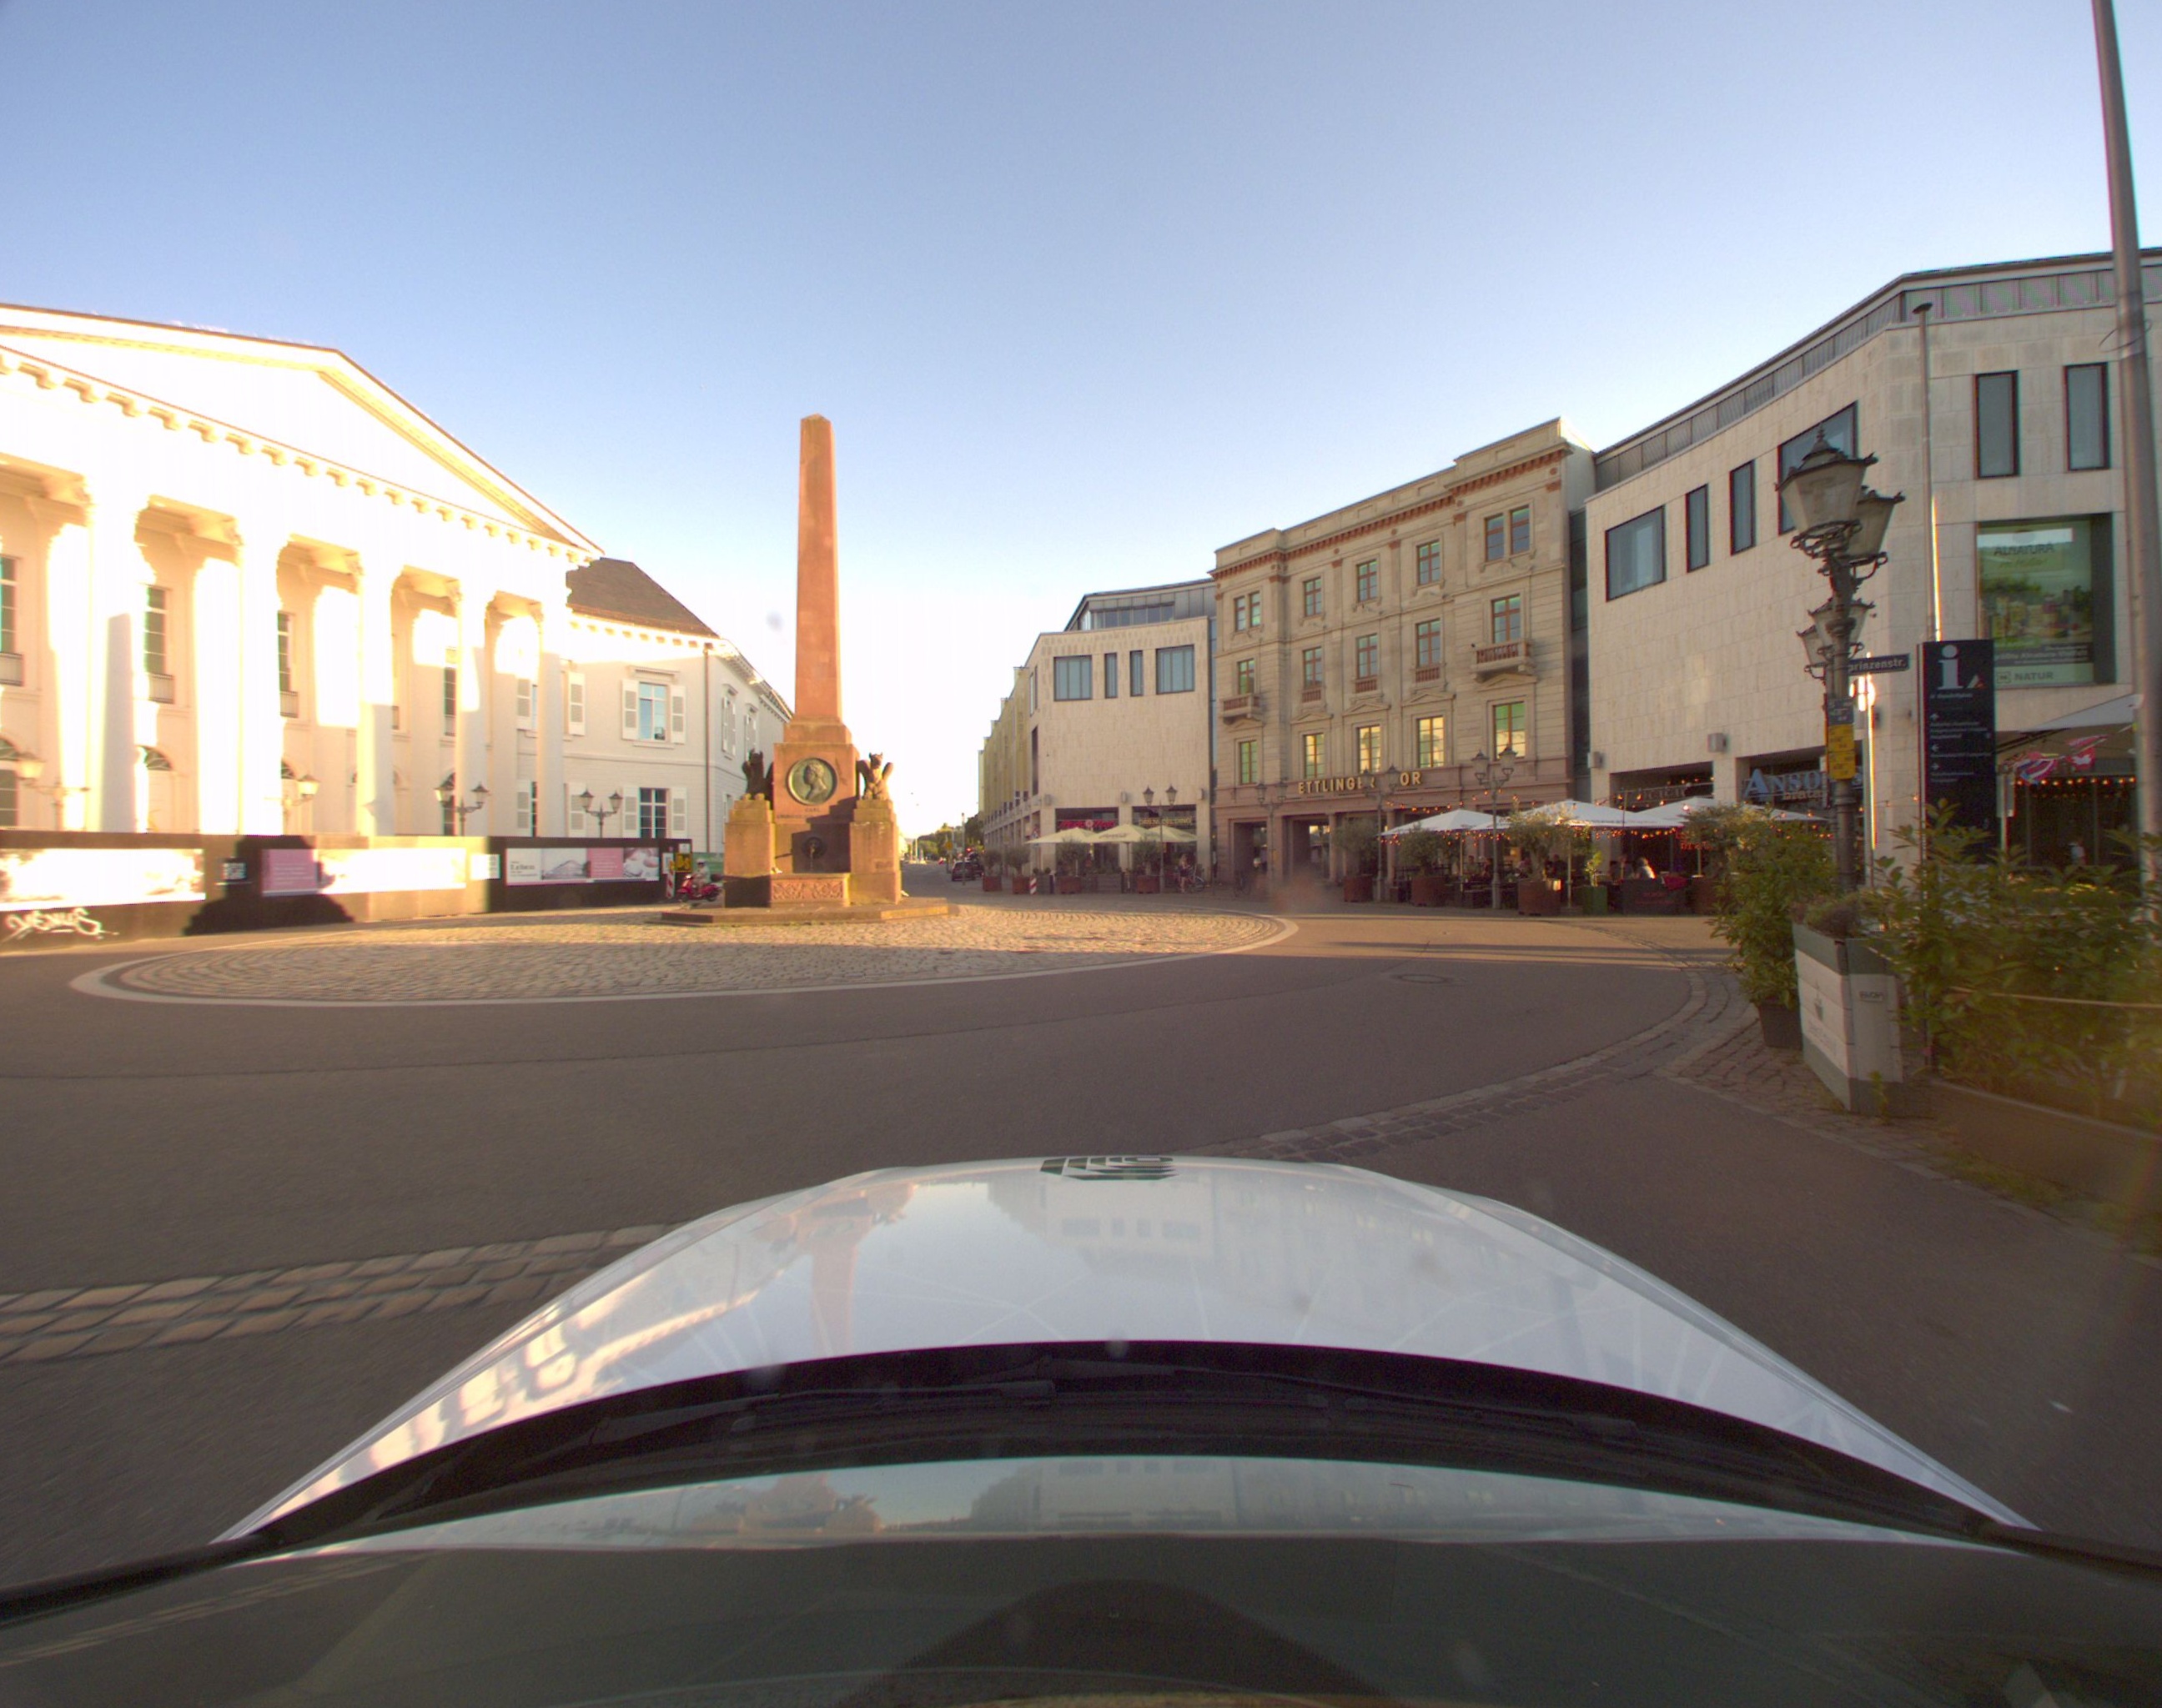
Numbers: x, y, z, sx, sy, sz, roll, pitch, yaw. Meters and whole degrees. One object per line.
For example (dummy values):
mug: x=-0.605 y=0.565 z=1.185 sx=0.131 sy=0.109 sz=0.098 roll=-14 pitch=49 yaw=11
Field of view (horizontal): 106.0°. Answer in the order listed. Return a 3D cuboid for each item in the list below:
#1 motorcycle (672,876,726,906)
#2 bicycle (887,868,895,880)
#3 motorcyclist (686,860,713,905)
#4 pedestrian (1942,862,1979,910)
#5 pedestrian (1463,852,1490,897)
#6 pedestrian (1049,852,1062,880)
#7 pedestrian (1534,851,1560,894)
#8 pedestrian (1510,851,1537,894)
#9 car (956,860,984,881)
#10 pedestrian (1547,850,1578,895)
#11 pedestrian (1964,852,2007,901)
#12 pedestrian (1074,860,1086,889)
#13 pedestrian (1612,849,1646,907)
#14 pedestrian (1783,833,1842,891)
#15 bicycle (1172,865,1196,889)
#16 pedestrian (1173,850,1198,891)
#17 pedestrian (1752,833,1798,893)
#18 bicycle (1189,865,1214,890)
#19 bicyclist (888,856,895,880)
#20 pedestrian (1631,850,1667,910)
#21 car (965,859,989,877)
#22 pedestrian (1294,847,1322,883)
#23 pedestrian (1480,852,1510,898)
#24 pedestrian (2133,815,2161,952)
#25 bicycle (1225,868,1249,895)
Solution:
motorcycle: x=-14.246 y=1.365 z=30.384 sx=0.594 sy=1.031 sz=1.766 roll=-1 pitch=0 yaw=32
bicycle: x=-18.233 y=1.921 z=78.267 sx=0.600 sy=1.138 sz=1.749 roll=-1 pitch=0 yaw=-9
motorcyclist: x=-14.235 y=1.068 z=30.397 sx=0.594 sy=1.652 sz=0.696 roll=-1 pitch=0 yaw=32
pedestrian: x=20.990 y=0.751 z=19.440 sx=0.539 sy=1.111 sz=0.545 roll=-1 pitch=0 yaw=-37
pedestrian: x=13.268 y=0.677 z=27.317 sx=0.543 sy=1.478 sz=0.622 roll=-1 pitch=0 yaw=-9
pedestrian: x=-1.659 y=0.783 z=52.618 sx=0.709 sy=1.787 sz=0.641 roll=-1 pitch=0 yaw=-17
pedestrian: x=16.307 y=0.623 z=28.488 sx=0.542 sy=1.478 sz=0.624 roll=-1 pitch=0 yaw=1
pedestrian: x=15.409 y=0.639 z=28.351 sx=0.588 sy=1.478 sz=0.624 roll=-1 pitch=0 yaw=1
car: x=-8.437 y=1.210 z=61.711 sx=1.993 sy=1.464 sz=3.988 roll=-1 pitch=0 yaw=-9
pedestrian: x=16.237 y=0.620 z=27.450 sx=0.625 sy=1.478 sz=0.620 roll=-1 pitch=0 yaw=-20
pedestrian: x=21.675 y=0.526 z=19.514 sx=0.495 sy=1.156 sz=0.471 roll=-1 pitch=0 yaw=-1
pedestrian: x=-0.033 y=0.980 z=39.881 sx=0.504 sy=1.398 sz=0.496 roll=-1 pitch=0 yaw=5
pedestrian: x=14.171 y=0.621 z=21.078 sx=0.525 sy=1.478 sz=0.564 roll=-1 pitch=0 yaw=8
pedestrian: x=21.263 y=0.218 z=23.685 sx=0.925 sy=1.647 sz=0.868 roll=-1 pitch=0 yaw=2
bicycle: x=4.579 y=1.011 z=36.142 sx=0.594 sy=1.031 sz=1.655 roll=-1 pitch=0 yaw=25
pedestrian: x=4.432 y=0.692 z=34.620 sx=0.902 sy=1.728 sz=0.849 roll=-1 pitch=0 yaw=-2
pedestrian: x=19.568 y=0.253 z=22.962 sx=0.691 sy=1.647 sz=0.692 roll=-1 pitch=0 yaw=1
bicycle: x=5.293 y=1.014 z=35.837 sx=0.613 sy=1.031 sz=1.655 roll=-1 pitch=0 yaw=25
bicyclist: x=-18.236 y=1.357 z=78.318 sx=0.600 sy=2.242 sz=0.801 roll=-1 pitch=0 yaw=-9
pedestrian: x=14.110 y=0.634 z=20.244 sx=0.525 sy=1.478 sz=0.564 roll=-1 pitch=0 yaw=10
car: x=-8.973 y=1.197 z=70.200 sx=1.993 sy=1.464 sz=3.988 roll=-1 pitch=0 yaw=-9
pedestrian: x=11.535 y=0.547 z=41.359 sx=0.975 sy=1.822 sz=0.979 roll=-1 pitch=0 yaw=-35
pedestrian: x=13.386 y=0.671 z=26.340 sx=0.587 sy=1.478 sz=0.682 roll=-1 pitch=0 yaw=-7
pedestrian: x=15.819 y=0.409 z=11.429 sx=1.014 sy=1.932 sz=1.016 roll=-1 pitch=0 yaw=35
bicycle: x=6.222 y=1.086 z=32.414 sx=0.502 sy=1.031 sz=1.655 roll=-1 pitch=0 yaw=25
